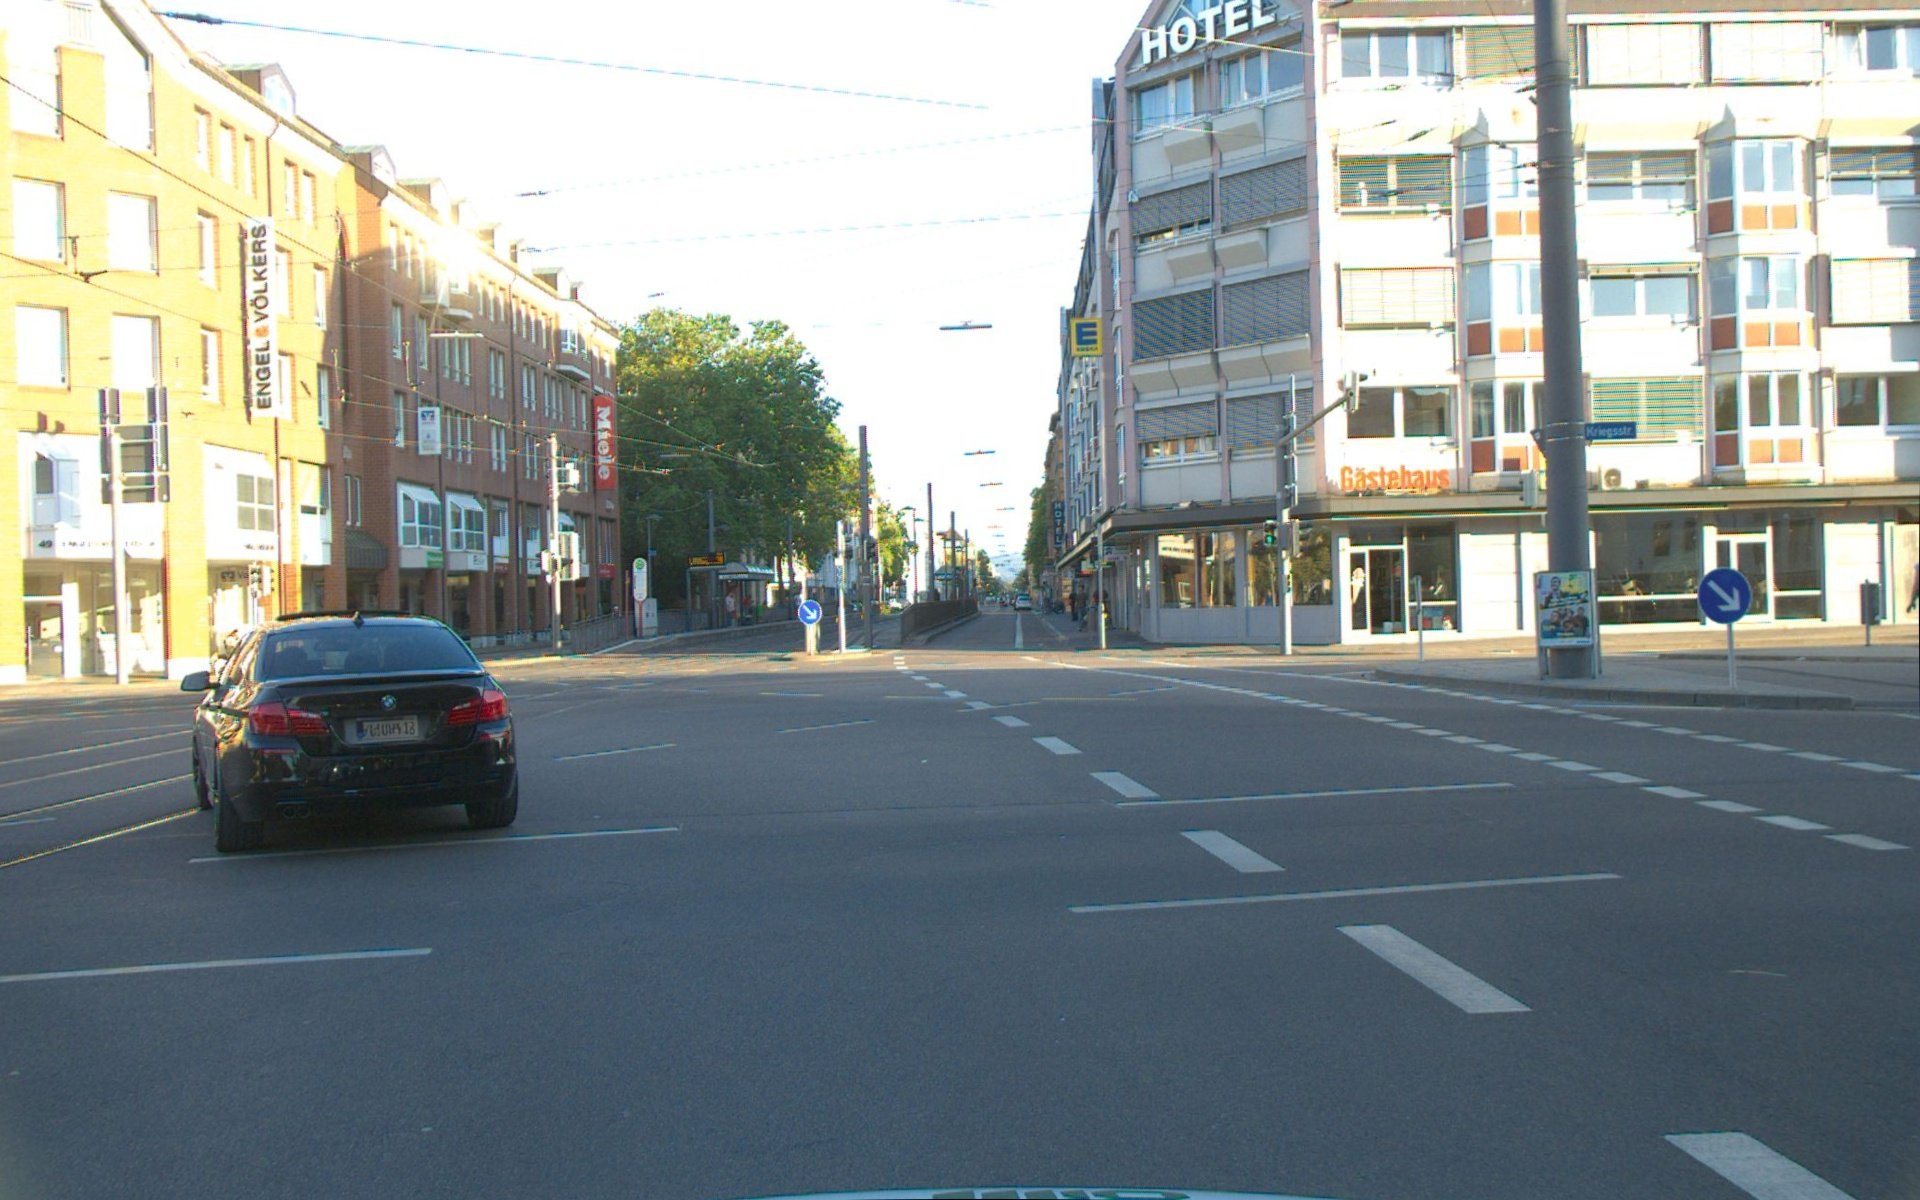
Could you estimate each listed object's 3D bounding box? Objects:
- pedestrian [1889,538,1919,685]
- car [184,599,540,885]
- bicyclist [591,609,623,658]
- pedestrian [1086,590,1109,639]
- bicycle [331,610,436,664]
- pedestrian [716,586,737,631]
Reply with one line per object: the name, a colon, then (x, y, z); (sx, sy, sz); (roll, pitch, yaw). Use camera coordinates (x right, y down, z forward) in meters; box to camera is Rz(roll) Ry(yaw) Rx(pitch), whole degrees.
pedestrian: (11.228, 0.122, 19.122); (0.713, 1.678, 0.768); (-2, 0, 37)
car: (-4.428, 0.813, 11.818); (1.820, 1.521, 4.254); (-3, 2, -27)
bicyclist: (-18.749, 1.782, 87.983); (1.264, 2.511, 1.668); (-2, 0, 0)
pedestrian: (4.577, 0.483, 55.137); (0.691, 1.575, 0.907); (0, 3, -1)
bicycle: (-20.115, 1.289, 57.734); (3.229, 1.756, 1.069); (-2, 0, 1)
pedestrian: (-10.657, 0.386, 75.444); (0.792, 2.049, 0.678); (-2, 0, -2)
